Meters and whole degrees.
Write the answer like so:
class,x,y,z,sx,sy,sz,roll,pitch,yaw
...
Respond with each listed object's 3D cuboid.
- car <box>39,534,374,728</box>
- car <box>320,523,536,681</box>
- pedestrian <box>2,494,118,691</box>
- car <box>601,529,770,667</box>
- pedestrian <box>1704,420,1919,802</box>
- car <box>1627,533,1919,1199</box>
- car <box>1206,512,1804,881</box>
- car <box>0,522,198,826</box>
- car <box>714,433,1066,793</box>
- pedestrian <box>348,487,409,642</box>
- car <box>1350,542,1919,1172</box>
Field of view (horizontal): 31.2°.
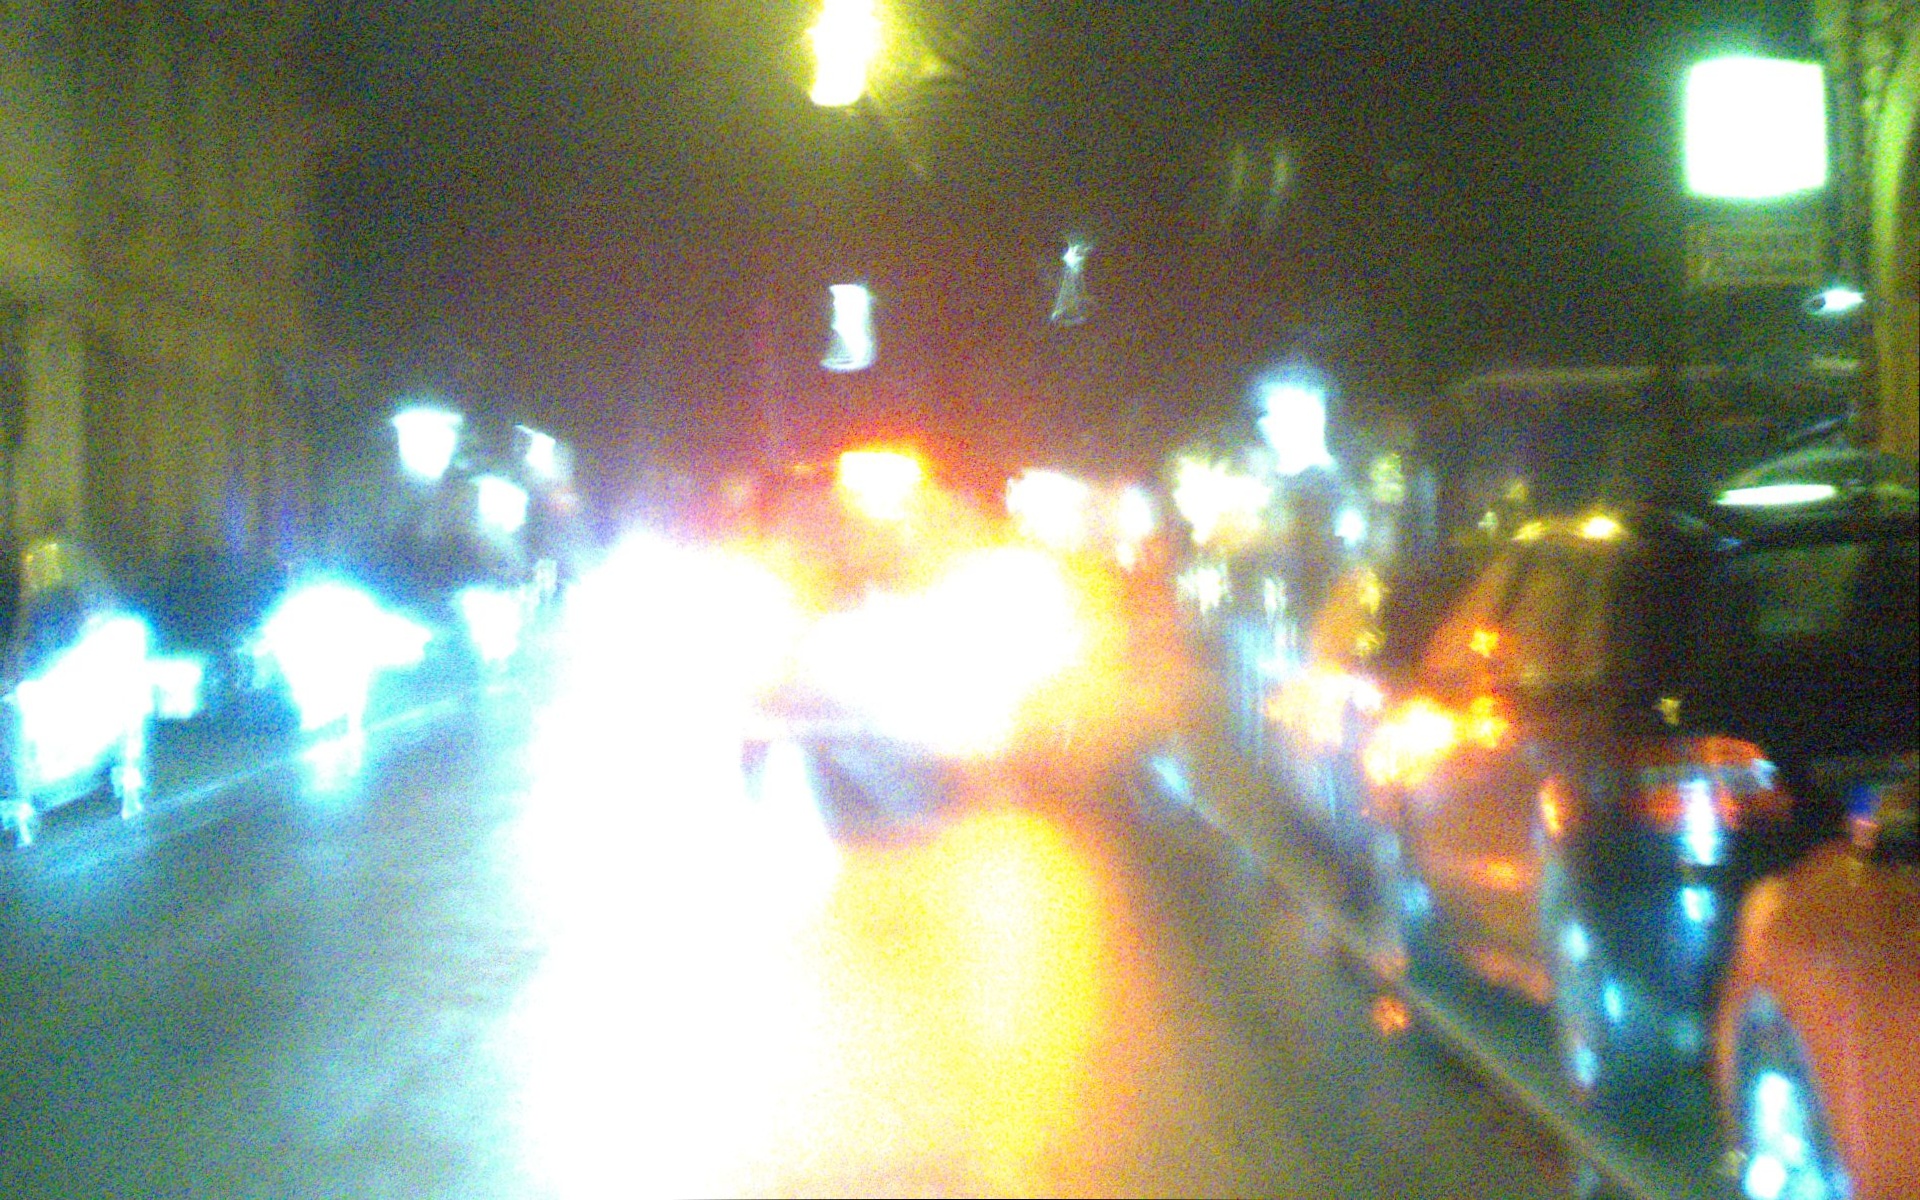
class,x,y,z,sx,sy,sz,roll,pitch,yaw
car,-6.176,0.201,28.704,1.832,1.481,4.595,0,1,-1
car,-6.078,-0.013,39.757,1.832,1.711,4.595,0,1,-1
pedestrian,-8.422,-0.070,32.204,0.743,1.798,0.986,2,0,3
car,-3.475,-0.073,44.290,1.920,1.612,4.575,-2,1,-2
pedestrian,4.209,0.036,16.863,0.862,1.782,1.083,-2,2,3
car,2.345,0.635,5.039,1.689,1.493,3.892,-1,1,-5
car,2.267,0.343,15.379,1.917,1.407,4.000,-1,1,-2
car,-5.656,0.364,19.773,1.745,1.583,3.766,0,1,-1
car,-0.408,0.031,21.952,1.996,2.042,4.694,0,1,0
pedestrian,-7.506,-0.463,44.402,0.656,1.967,0.770,2,0,-4
car,2.279,0.585,10.212,1.689,1.493,3.892,-1,1,-1
